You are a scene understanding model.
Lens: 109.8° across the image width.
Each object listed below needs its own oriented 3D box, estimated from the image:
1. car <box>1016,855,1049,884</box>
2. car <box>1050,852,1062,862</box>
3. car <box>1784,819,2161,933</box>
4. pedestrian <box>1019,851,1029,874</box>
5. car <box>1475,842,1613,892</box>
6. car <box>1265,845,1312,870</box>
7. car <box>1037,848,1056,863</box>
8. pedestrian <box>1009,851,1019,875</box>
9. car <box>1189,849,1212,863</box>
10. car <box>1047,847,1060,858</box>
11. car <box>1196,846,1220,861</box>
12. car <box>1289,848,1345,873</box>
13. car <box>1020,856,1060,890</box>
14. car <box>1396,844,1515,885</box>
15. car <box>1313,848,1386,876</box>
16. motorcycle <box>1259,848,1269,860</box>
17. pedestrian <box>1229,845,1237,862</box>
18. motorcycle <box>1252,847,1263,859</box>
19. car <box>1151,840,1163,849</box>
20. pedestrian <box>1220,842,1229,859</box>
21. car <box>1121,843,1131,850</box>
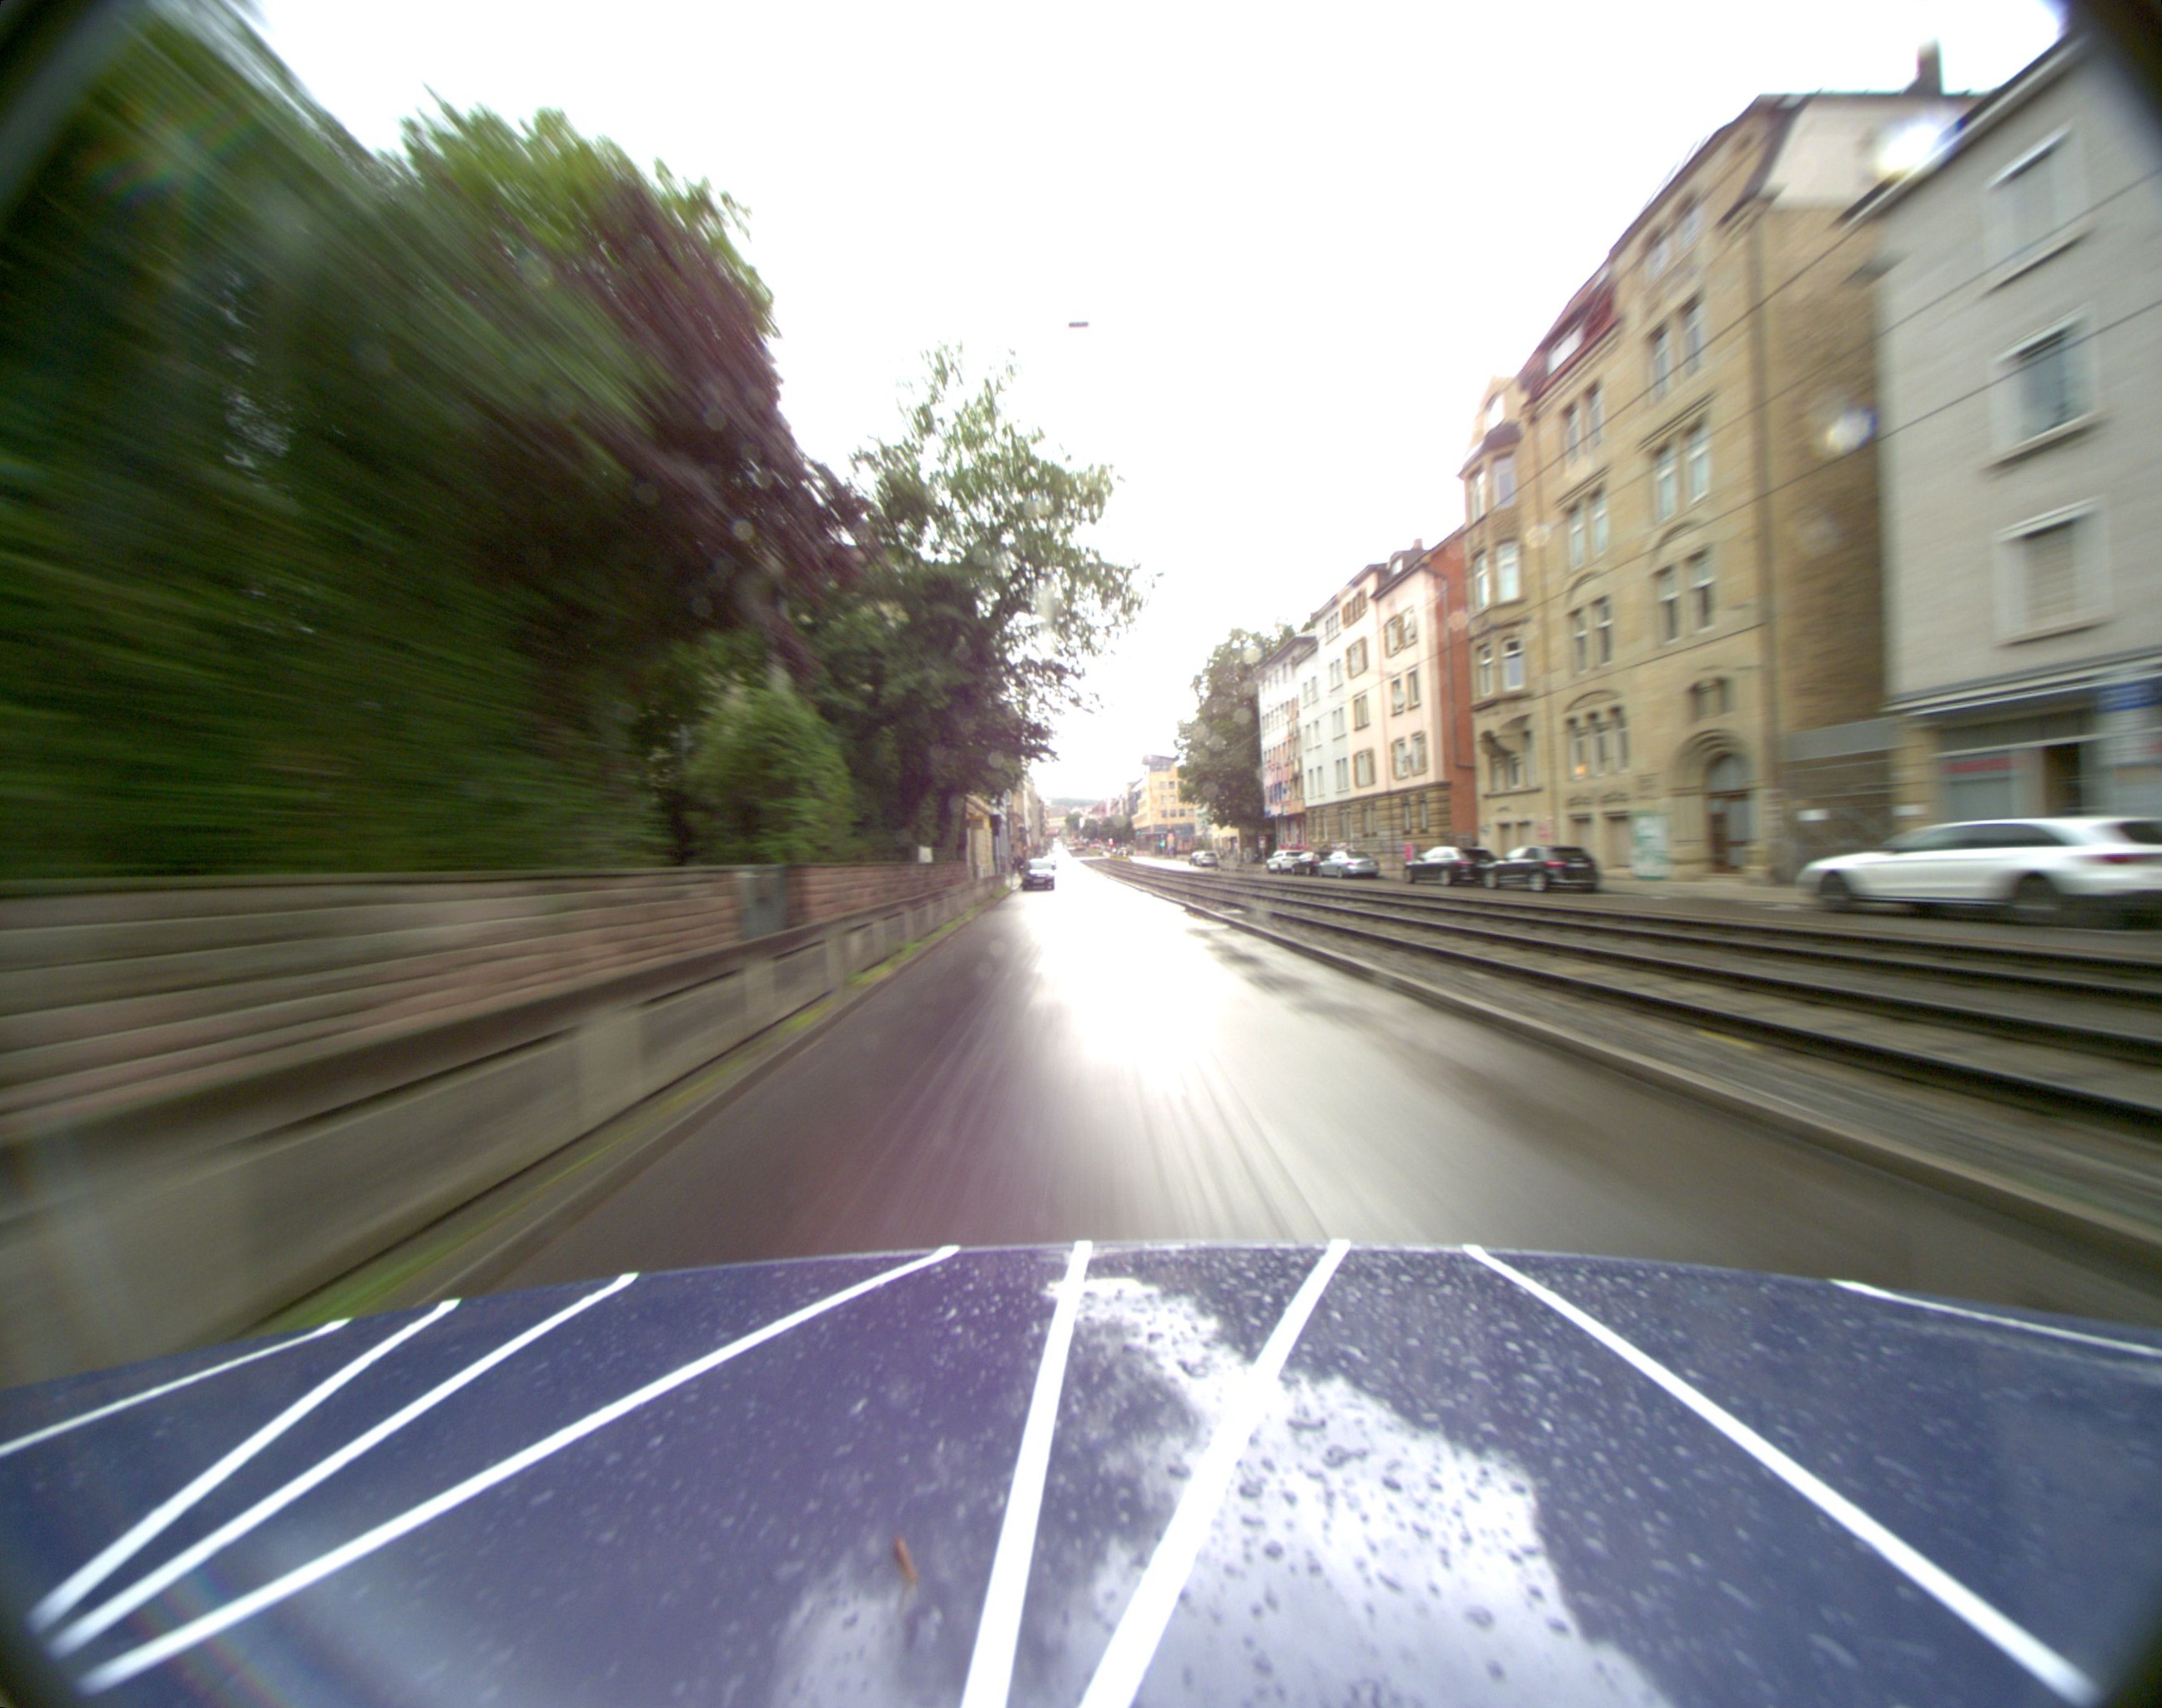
[{"bbox_3d":[-2.763,0.843,44.006,1.760,1.521,4.332,-3,0,-3],"label":"car"},{"bbox_3d":[-4.458,0.475,138.236,1.999,1.674,4.124,-3,0,-1],"label":"car"},{"bbox_3d":[14.878,0.303,12.573,1.999,1.527,4.748,1,0,-2],"label":"car"},{"bbox_3d":[-4.581,0.690,61.415,0.716,1.879,0.599,-3,1,-3],"label":"pedestrian"},{"bbox_3d":[14.545,0.372,24.178,1.741,1.447,4.169,1,0,-2],"label":"car"},{"bbox_3d":[13.918,0.239,51.233,1.843,1.596,4.227,-1,0,-3],"label":"car"},{"bbox_3d":[-4.061,0.189,90.560,1.999,1.674,4.124,-3,0,-1],"label":"car"},{"bbox_3d":[-5.412,0.738,61.360,0.765,1.902,0.588,-3,1,-3],"label":"pedestrian"},{"bbox_3d":[13.225,0.236,84.476,1.843,1.532,4.227,-1,0,-1],"label":"car"},{"bbox_3d":[-4.442,-0.265,124.062,1.999,1.674,4.124,-3,0,-1],"label":"car"},{"bbox_3d":[13.304,-0.066,79.812,1.843,1.532,4.227,-1,0,-1],"label":"car"},{"bbox_3d":[13.986,0.352,45.278,1.843,1.389,4.265,-1,0,-3],"label":"car"},{"bbox_3d":[-2.013,0.904,38.412,1.788,1.521,4.244,-3,0,-1],"label":"car"},{"bbox_3d":[14.363,0.385,29.516,1.999,1.447,5.021,1,0,-2],"label":"car"},{"bbox_3d":[14.091,0.393,40.192,1.999,1.389,5.021,1,0,-1],"label":"car"},{"bbox_3d":[17.851,-0.011,74.155,0.437,1.174,2.017,-3,0,-1],"label":"motorcycle"},{"bbox_3d":[16.460,-0.072,82.266,0.651,1.858,0.536,-2,0,2],"label":"pedestrian"},{"bbox_3d":[17.959,-0.075,77.401,0.473,1.139,2.565,-3,0,-1],"label":"motorcycle"},{"bbox_3d":[16.643,-2.059,166.631,1.999,1.674,3.999,-3,0,-1],"label":"car"},{"bbox_3d":[15.568,-0.360,82.516,0.809,1.858,0.536,-2,0,2],"label":"pedestrian"},{"bbox_3d":[11.297,-1.959,190.875,1.999,1.674,3.999,-3,0,-1],"label":"car"}]
